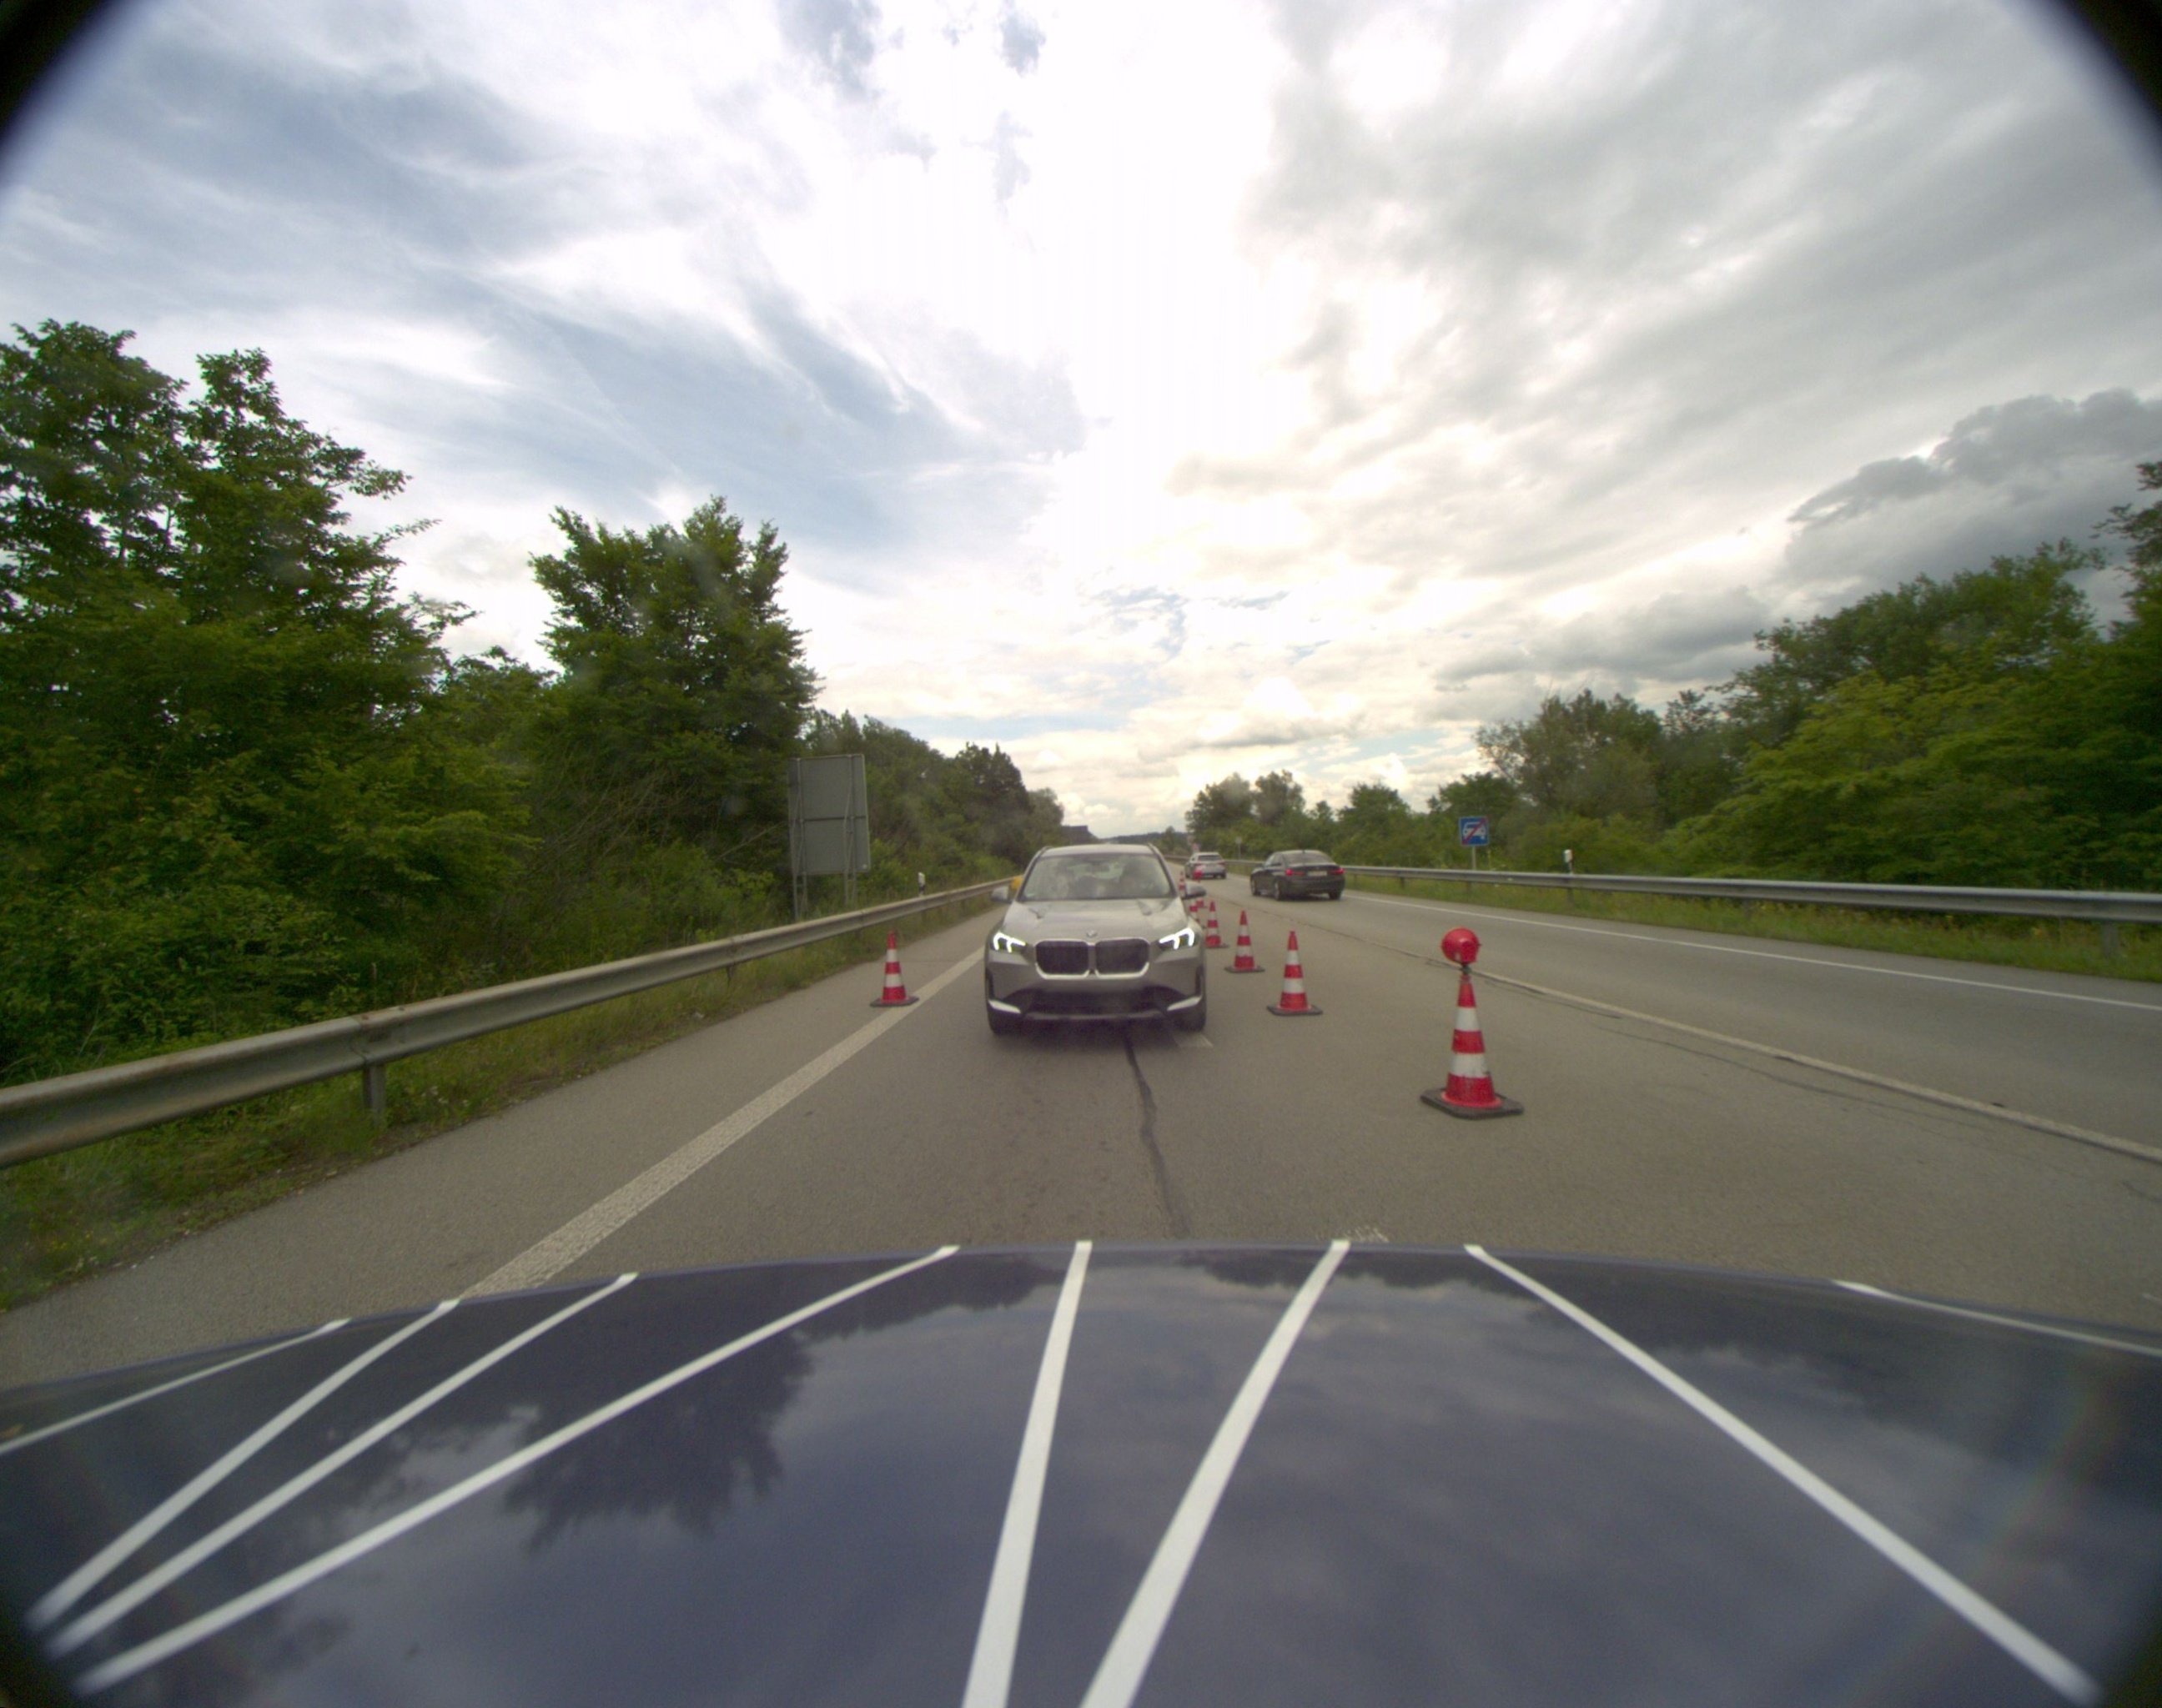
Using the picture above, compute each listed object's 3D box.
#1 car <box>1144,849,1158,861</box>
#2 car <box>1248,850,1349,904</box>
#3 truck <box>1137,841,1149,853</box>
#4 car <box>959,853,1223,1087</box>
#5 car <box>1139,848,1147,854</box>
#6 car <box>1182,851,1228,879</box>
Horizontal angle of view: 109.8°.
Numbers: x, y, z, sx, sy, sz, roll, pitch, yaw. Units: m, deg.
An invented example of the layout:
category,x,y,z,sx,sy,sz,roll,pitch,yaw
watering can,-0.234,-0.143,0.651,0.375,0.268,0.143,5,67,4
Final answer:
category,x,y,z,sx,sy,sz,roll,pitch,yaw
car,11.249,0.138,122.503,2.034,1.976,5.316,-2,0,3
car,6.451,0.630,23.011,1.713,1.428,4.336,-2,0,-1
truck,18.805,-2.089,230.437,3.113,3.682,9.545,-2,0,3
car,0.190,0.824,7.579,1.817,1.598,4.434,-2,0,3
car,16.052,-0.790,195.596,1.929,1.597,4.533,-2,0,3
car,6.712,0.542,41.483,1.683,1.393,4.373,-2,0,-1
